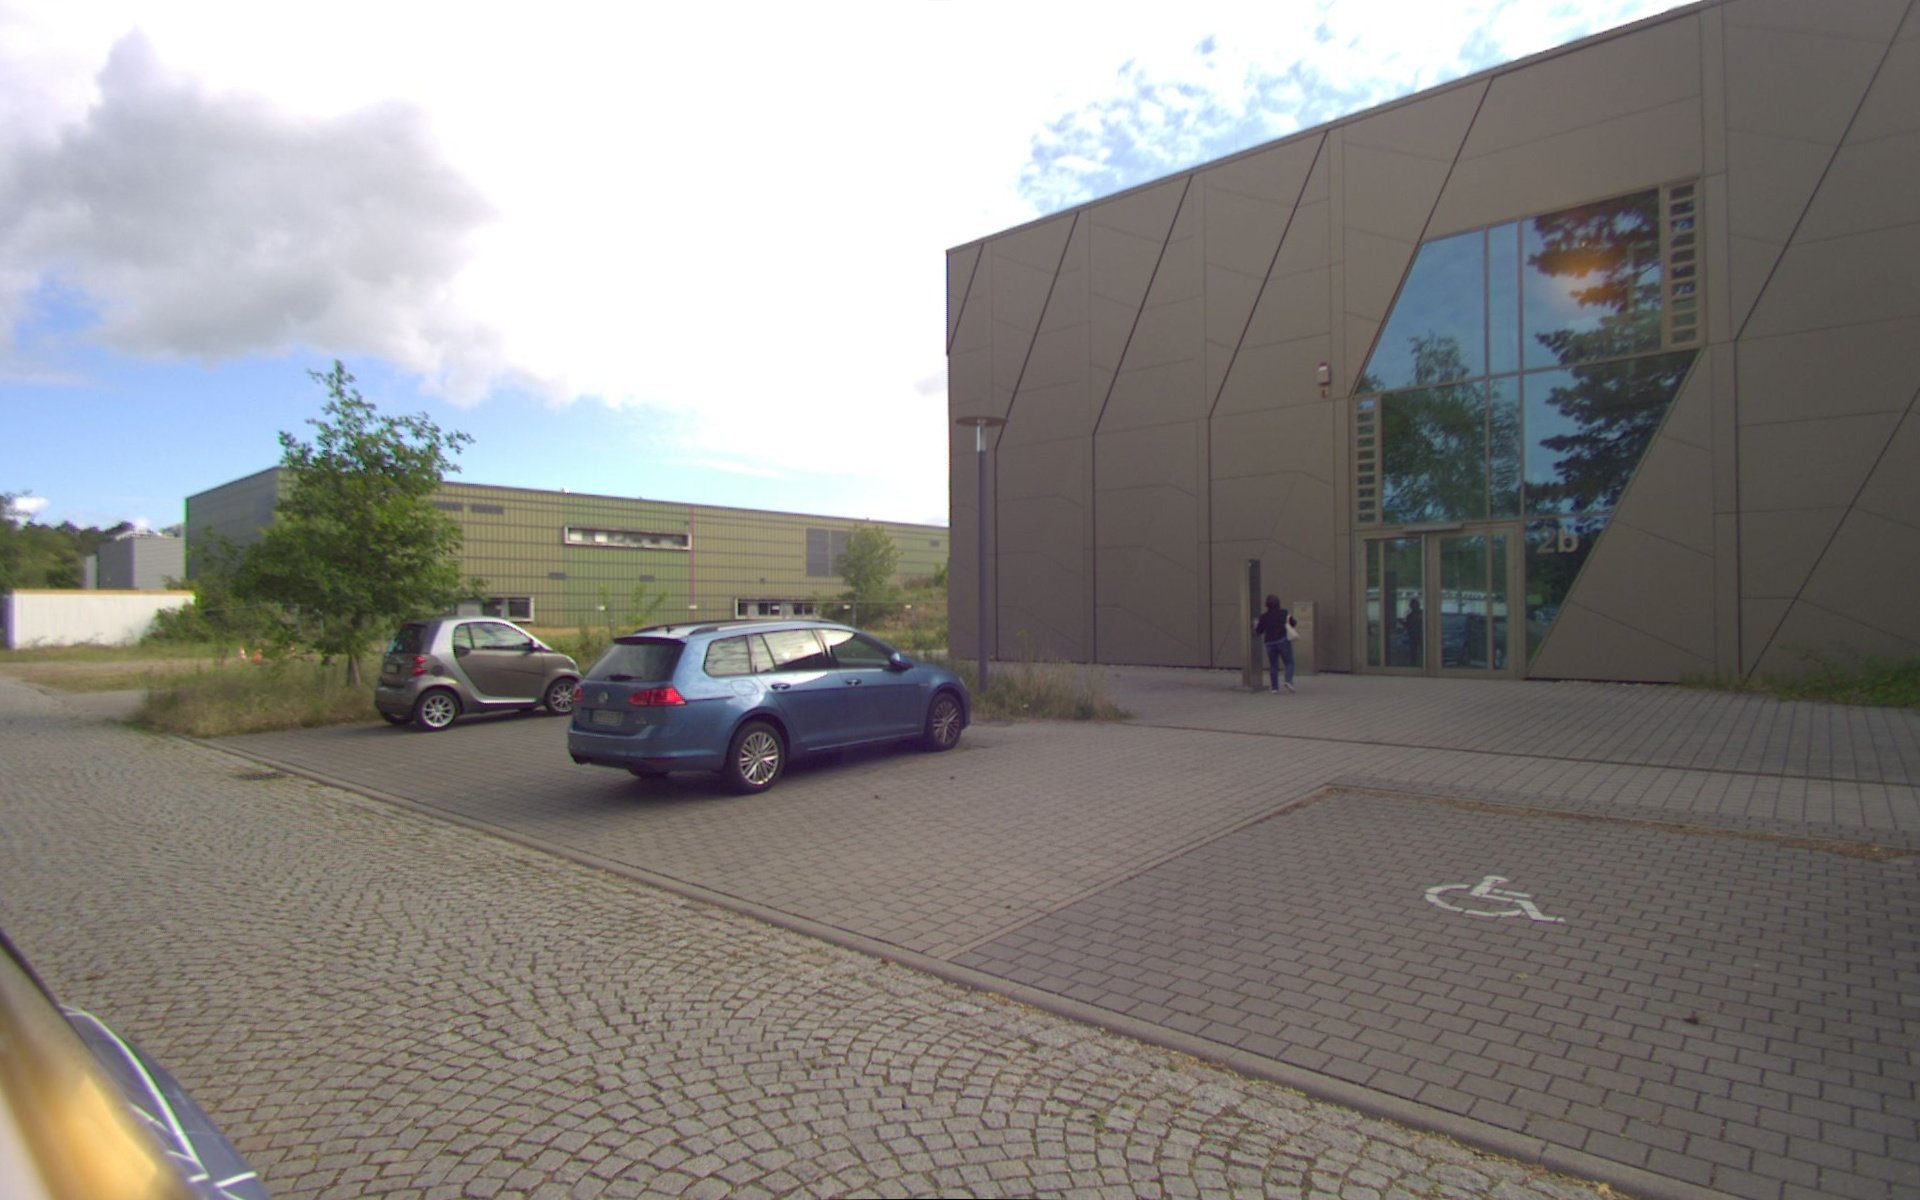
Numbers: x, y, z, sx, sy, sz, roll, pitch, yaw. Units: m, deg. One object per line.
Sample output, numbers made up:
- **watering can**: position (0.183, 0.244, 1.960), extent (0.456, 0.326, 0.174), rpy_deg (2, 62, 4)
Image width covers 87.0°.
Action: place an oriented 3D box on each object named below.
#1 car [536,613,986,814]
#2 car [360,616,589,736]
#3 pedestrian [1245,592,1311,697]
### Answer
- **car**: position (-1.722, 0.921, 10.051), extent (1.771, 1.439, 4.265), rpy_deg (-2, 0, 38)
- **car**: position (-7.138, 1.039, 14.985), extent (1.609, 1.522, 2.627), rpy_deg (-2, 0, 40)
- **pedestrian**: position (4.779, 0.649, 15.172), extent (0.813, 1.506, 0.979), rpy_deg (-1, 0, 24)
